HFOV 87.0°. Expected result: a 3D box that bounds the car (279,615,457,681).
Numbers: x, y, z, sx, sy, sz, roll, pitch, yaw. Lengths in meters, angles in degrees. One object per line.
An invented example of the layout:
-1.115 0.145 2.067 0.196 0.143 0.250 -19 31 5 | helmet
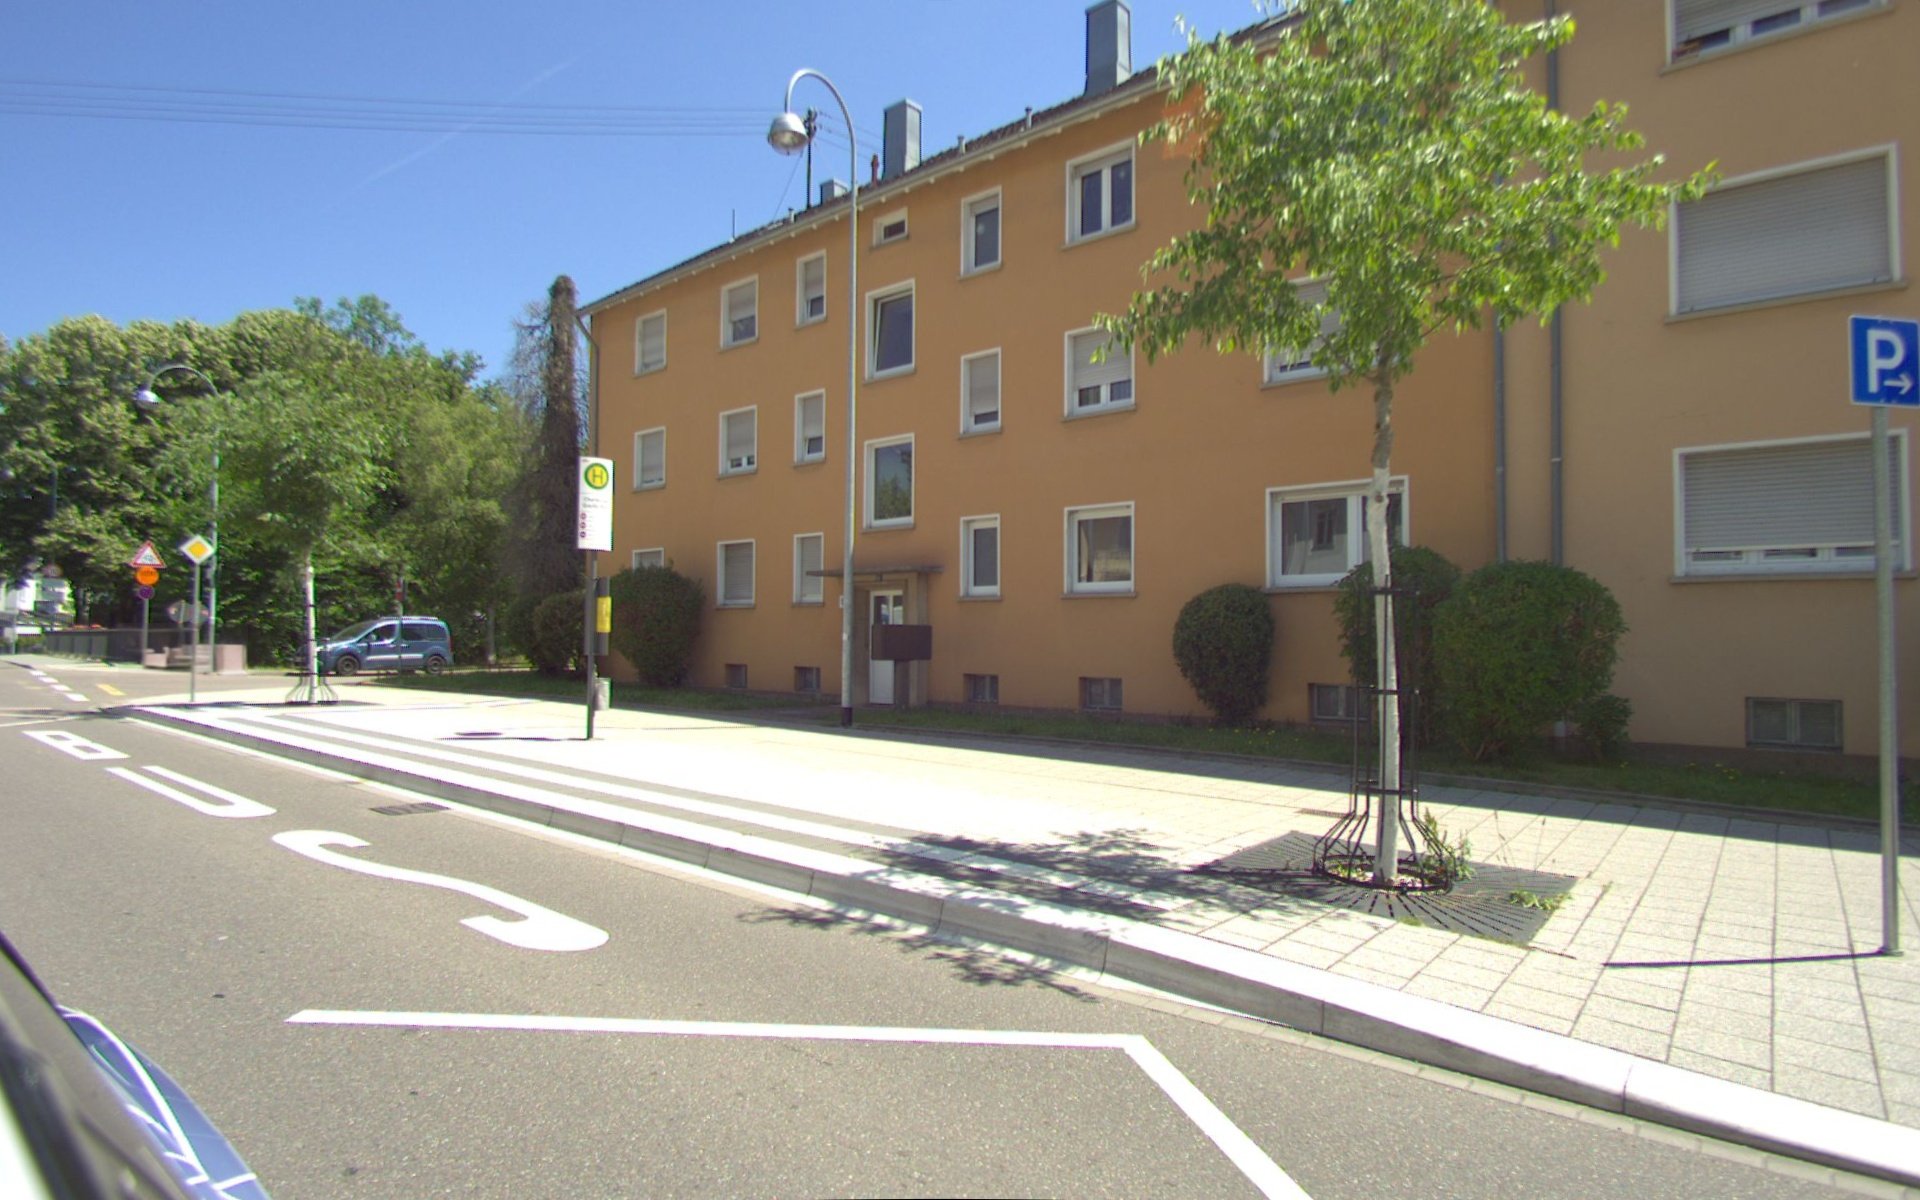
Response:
-18.182 1.508 31.288 1.812 1.888 4.392 -1 -3 30 | car

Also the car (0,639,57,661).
-77.030 4.122 83.669 3.975 1.729 1.984 -2 -5 24 | car
